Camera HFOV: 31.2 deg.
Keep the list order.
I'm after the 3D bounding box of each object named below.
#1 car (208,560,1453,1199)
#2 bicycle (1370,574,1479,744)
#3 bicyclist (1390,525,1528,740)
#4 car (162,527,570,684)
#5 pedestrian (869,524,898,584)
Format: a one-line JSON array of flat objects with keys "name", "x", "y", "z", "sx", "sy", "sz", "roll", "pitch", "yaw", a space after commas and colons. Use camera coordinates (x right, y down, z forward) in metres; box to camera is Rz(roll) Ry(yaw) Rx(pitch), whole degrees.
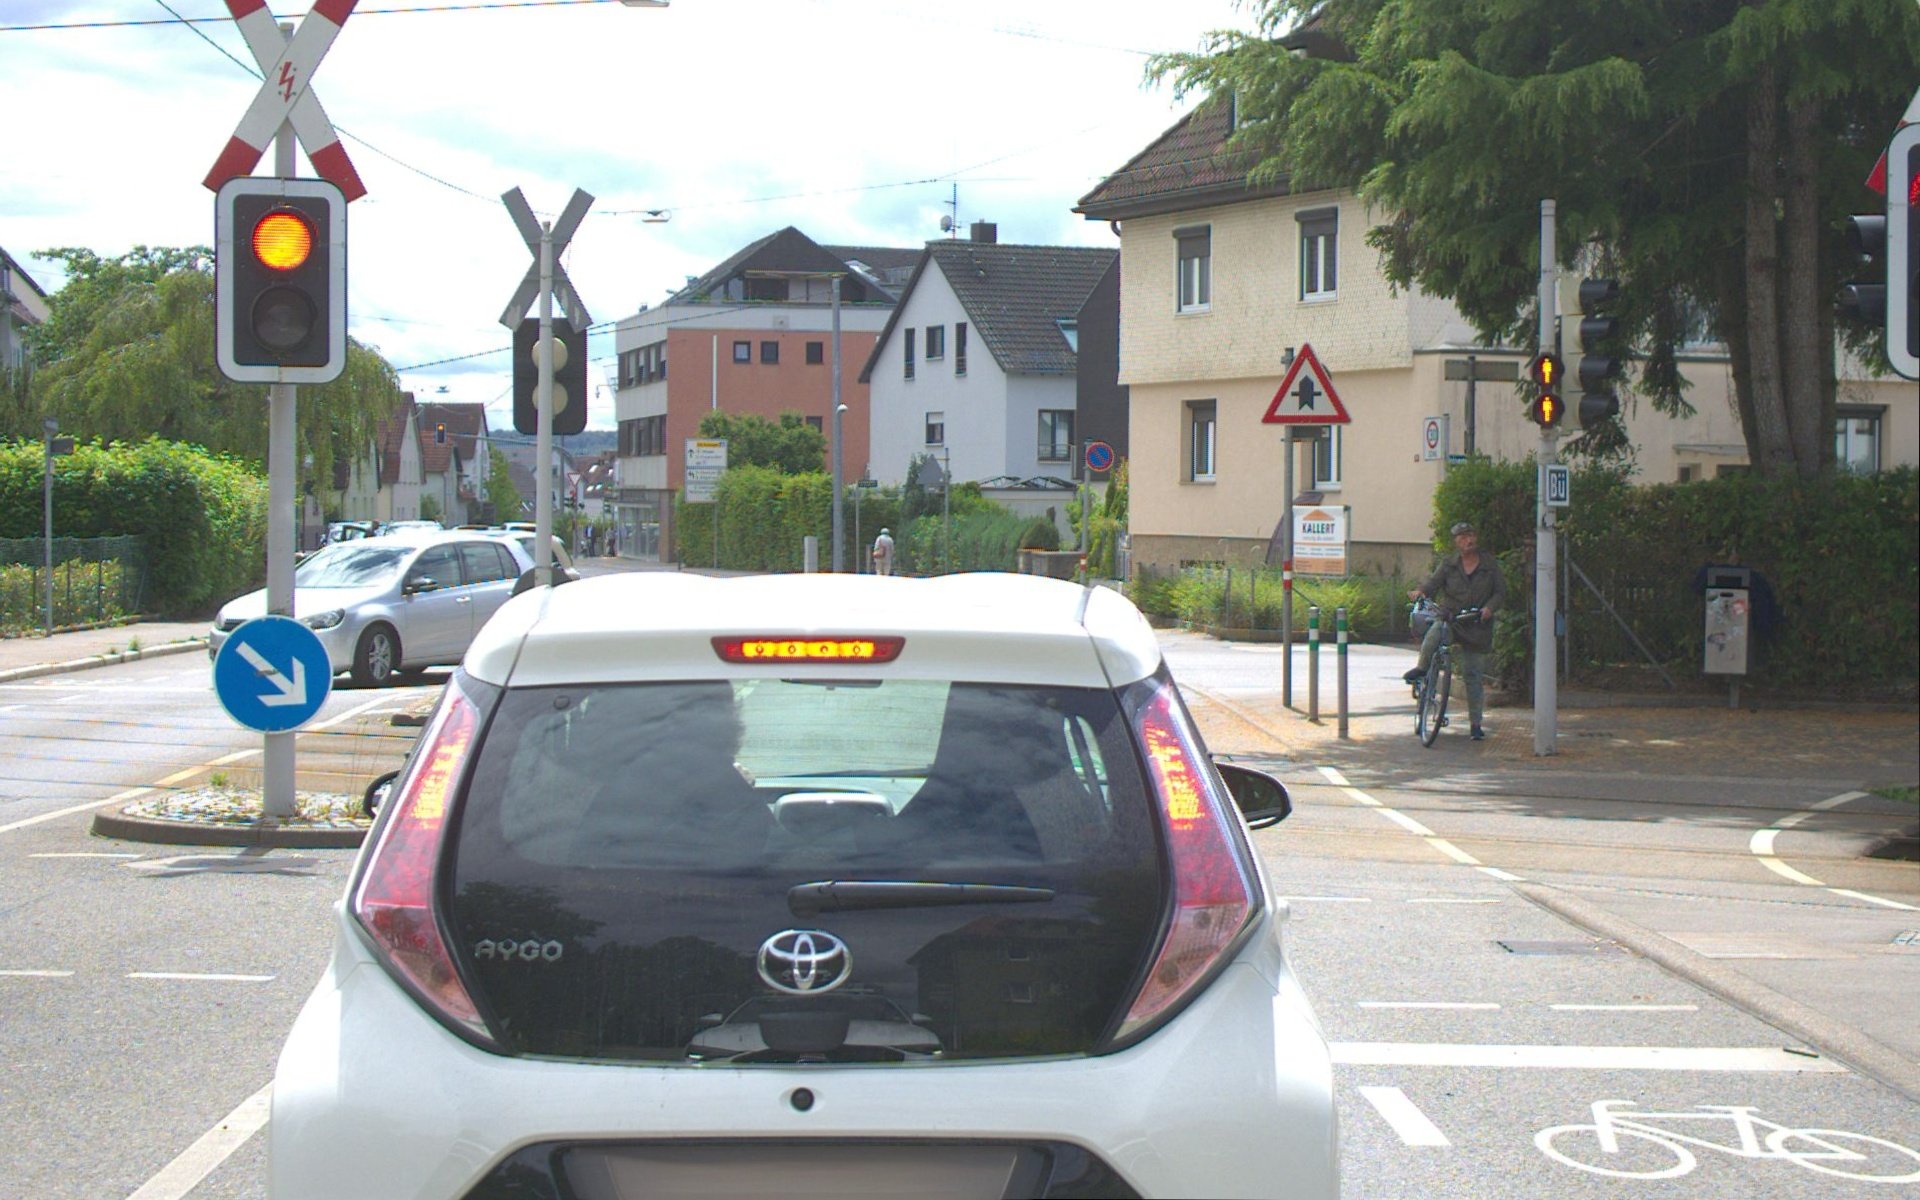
[{"name": "car", "x": -0.302, "y": 0.667, "z": 6.634, "sx": 1.721, "sy": 1.437, "sz": 3.709, "roll": 1, "pitch": 1, "yaw": -4}, {"name": "bicycle", "x": 3.533, "y": 0.433, "z": 26.222, "sx": 0.457, "sy": 1.168, "sz": 1.480, "roll": -2, "pitch": 4, "yaw": -6}, {"name": "bicyclist", "x": 3.788, "y": 0.235, "z": 26.141, "sx": 0.840, "sy": 1.548, "sz": 0.756, "roll": -2, "pitch": 3, "yaw": -6}, {"name": "car", "x": -5.879, "y": 0.039, "z": 34.512, "sx": 1.908, "sy": 1.436, "sz": 4.092, "roll": 2, "pitch": 1, "yaw": 28}, {"name": "pedestrian", "x": -2.052, "y": -1.227, "z": 92.045, "sx": 0.726, "sy": 1.571, "sz": 0.803, "roll": 2, "pitch": 1, "yaw": 0}]
